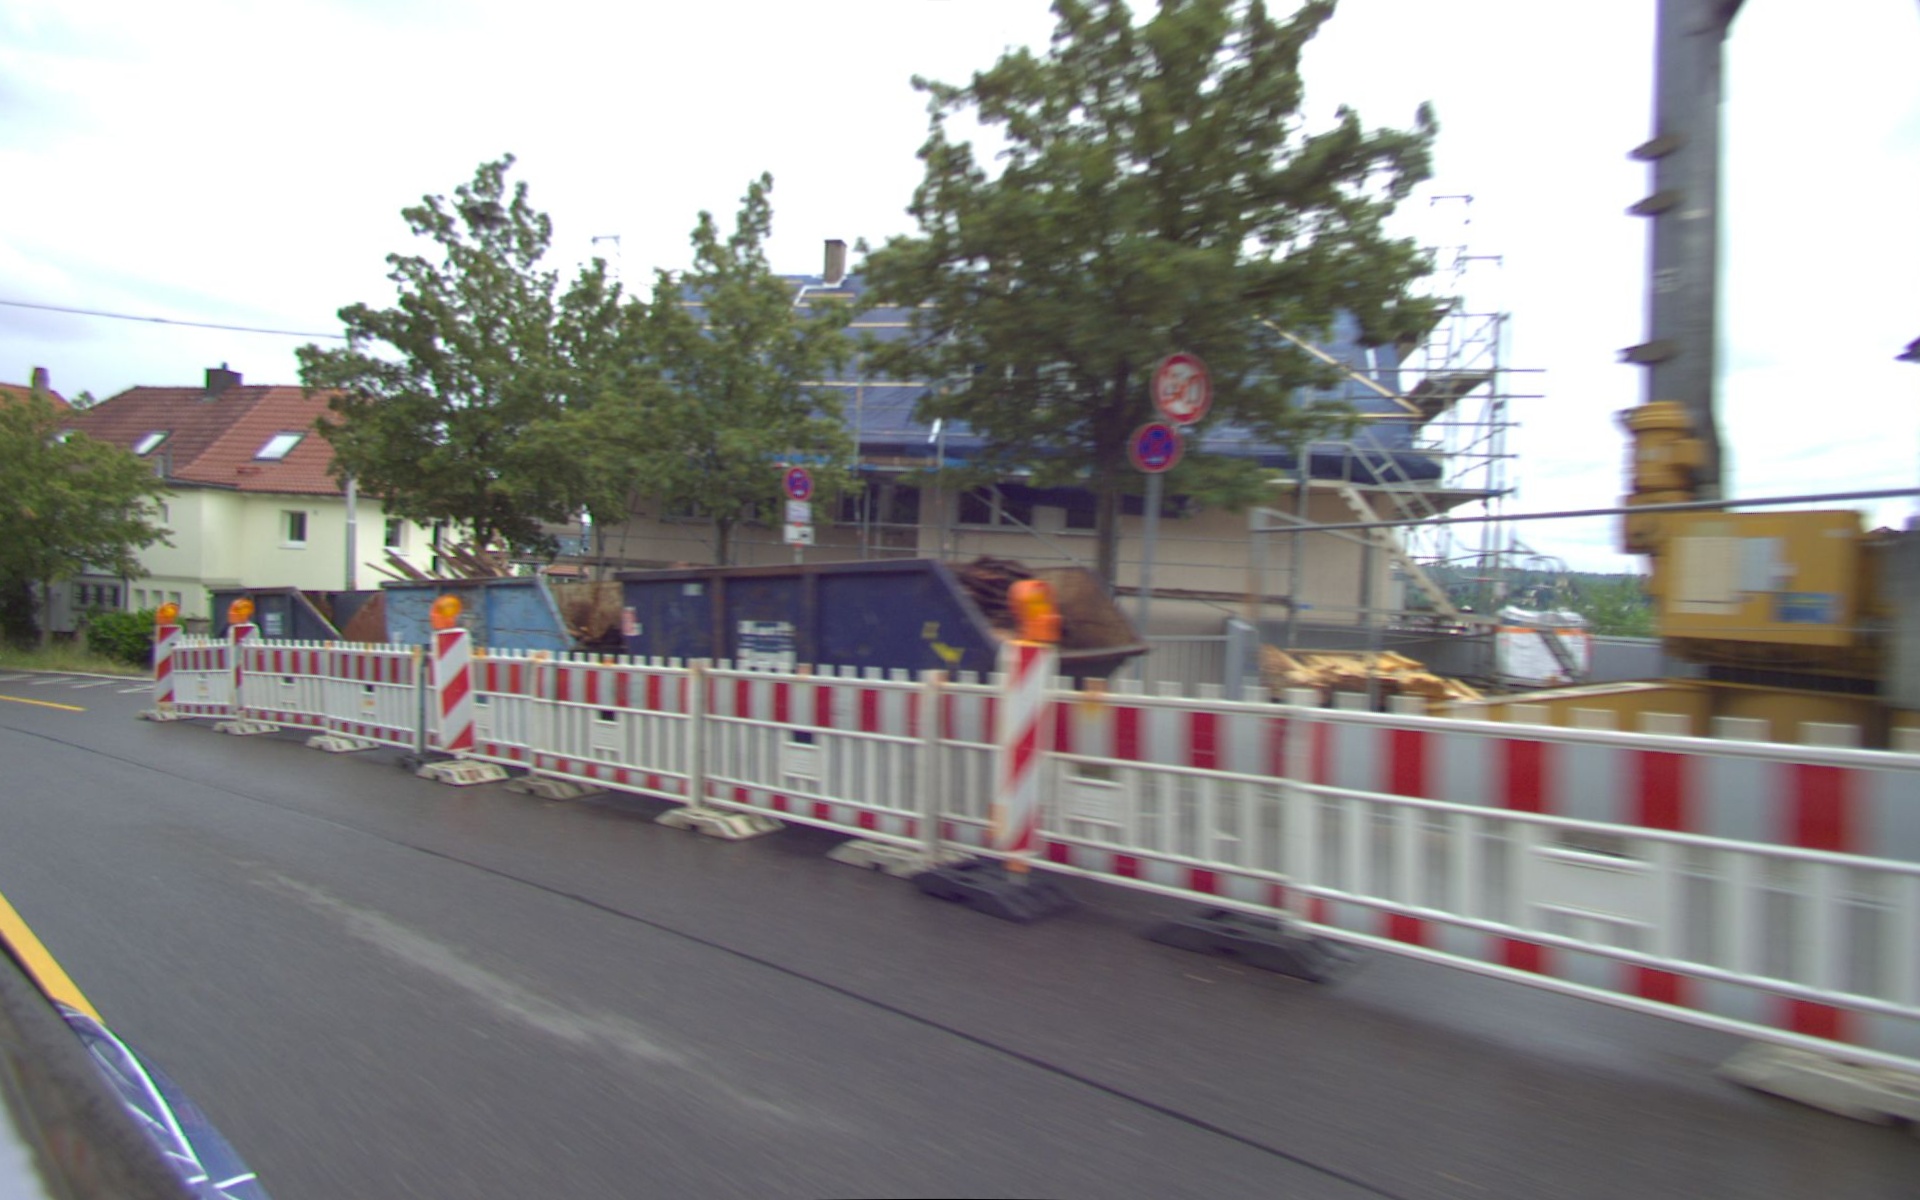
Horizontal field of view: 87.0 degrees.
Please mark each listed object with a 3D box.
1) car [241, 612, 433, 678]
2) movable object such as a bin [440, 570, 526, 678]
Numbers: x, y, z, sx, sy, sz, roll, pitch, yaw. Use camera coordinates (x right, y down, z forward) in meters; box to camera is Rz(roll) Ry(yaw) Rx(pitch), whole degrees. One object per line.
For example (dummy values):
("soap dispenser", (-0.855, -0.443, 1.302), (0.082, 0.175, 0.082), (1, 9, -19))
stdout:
("car", (-16.771, 1.233, 27.506), (1.934, 1.616, 4.186), (1, -3, 17))
("movable object such as a bin", (-11.544, 0.574, 24.530), (1.375, 2.525, 1.308), (-1, -1, 19))
